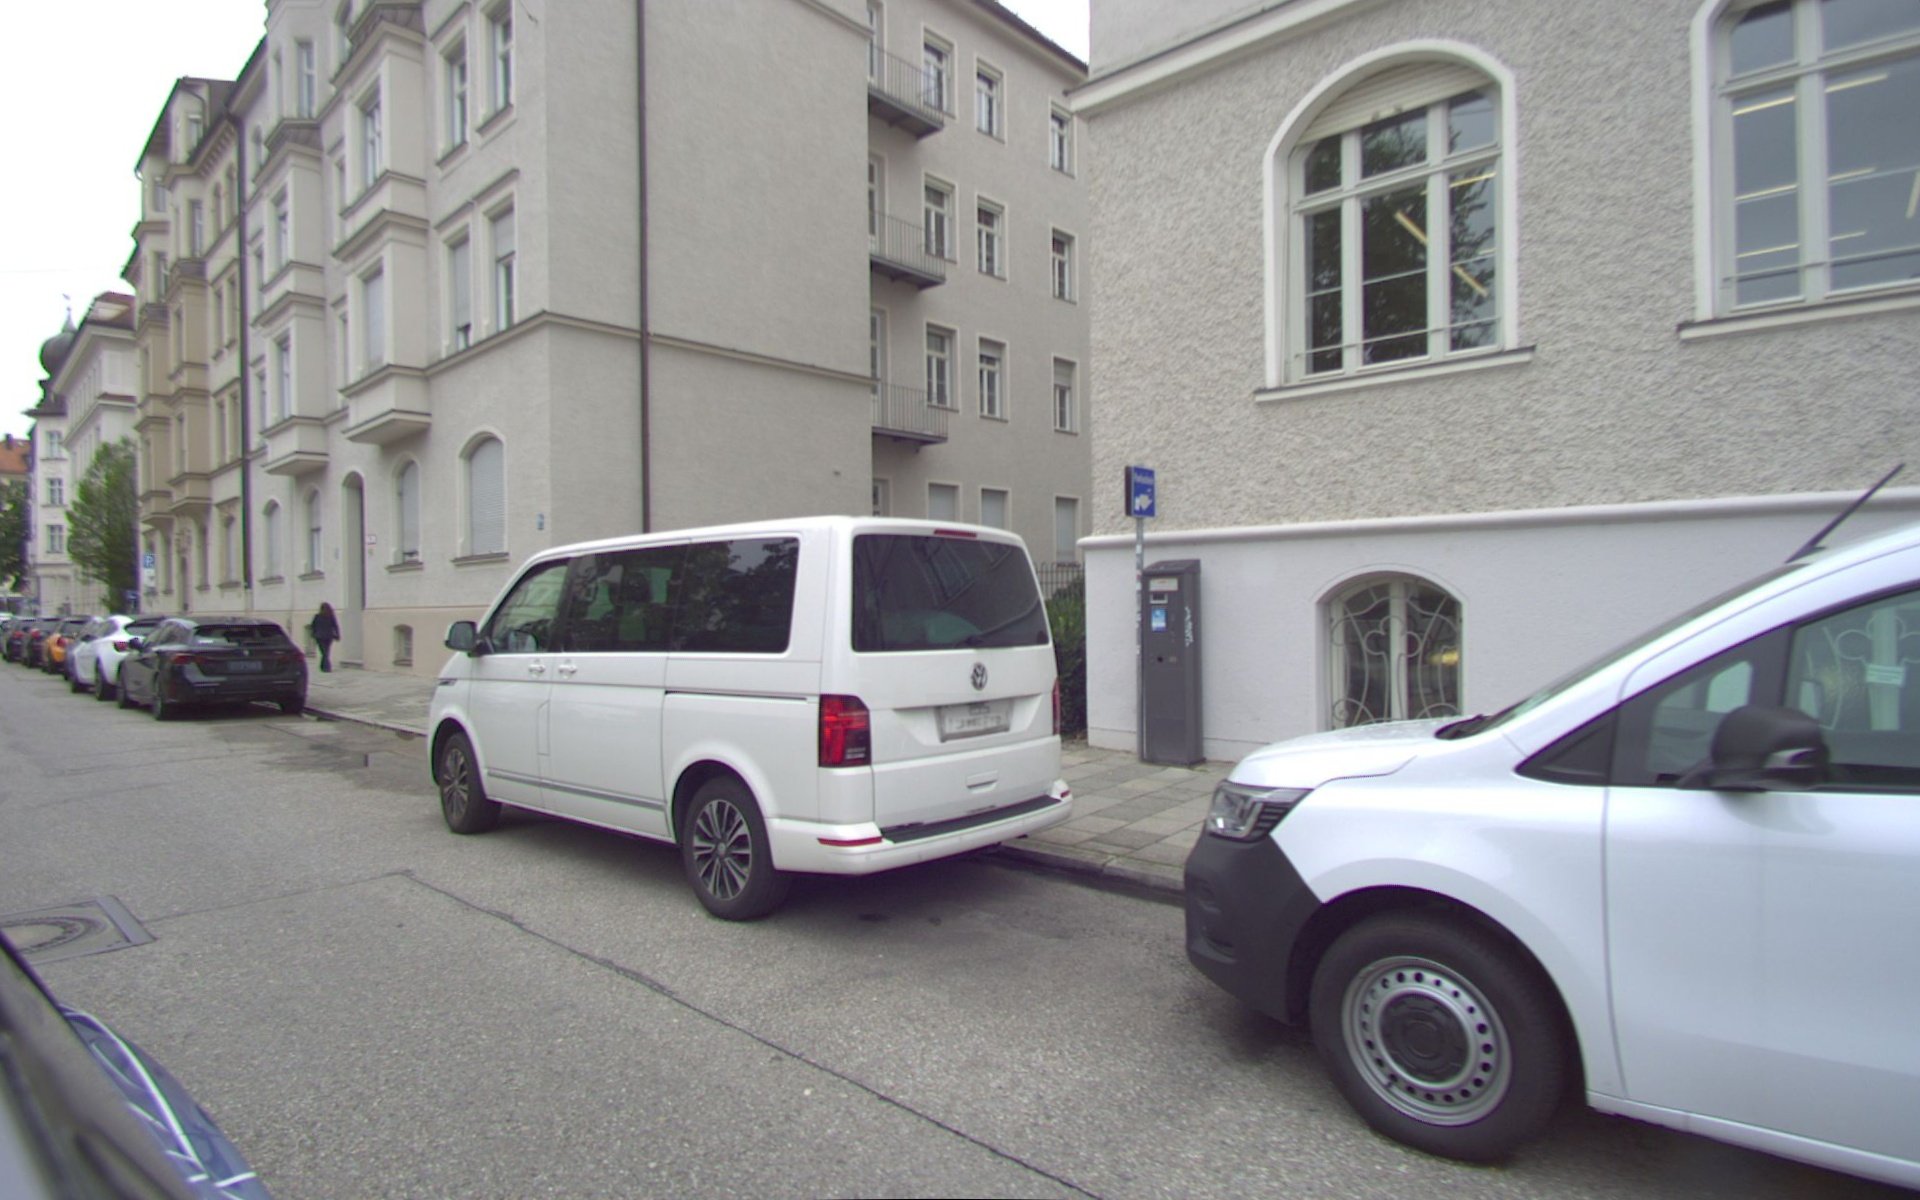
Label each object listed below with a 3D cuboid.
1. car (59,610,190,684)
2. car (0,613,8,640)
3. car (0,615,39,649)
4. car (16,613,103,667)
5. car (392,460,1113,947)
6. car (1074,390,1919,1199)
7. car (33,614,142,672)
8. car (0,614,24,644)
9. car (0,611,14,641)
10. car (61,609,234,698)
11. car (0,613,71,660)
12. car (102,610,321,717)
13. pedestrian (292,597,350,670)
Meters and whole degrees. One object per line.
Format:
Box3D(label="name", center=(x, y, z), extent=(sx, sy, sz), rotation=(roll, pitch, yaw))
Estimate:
Box3D(label="car", center=(-18.456, 0.967, 22.296), extent=(3.938, 1.474, 1.785), rotation=(-1, -1, 44))
Box3D(label="car", center=(-55.843, 1.507, 57.982), extent=(3.920, 1.542, 1.605), rotation=(-1, -1, 43))
Box3D(label="car", center=(-40.951, 1.352, 43.517), extent=(3.688, 1.440, 1.606), rotation=(-1, -1, 41))
Box3D(label="car", center=(-26.283, 1.112, 29.502), extent=(3.942, 1.467, 1.605), rotation=(-1, -1, 44))
Box3D(label="car", center=(-1.642, 0.444, 6.391), extent=(4.955, 1.953, 1.837), rotation=(-1, -1, 41))
Box3D(label="car", center=(2.844, 0.472, 2.427), extent=(5.034, 1.802, 1.728), rotation=(-1, -1, 41))
Box3D(label="car", center=(-22.626, 1.066, 26.202), extent=(3.730, 1.373, 1.785), rotation=(-1, -1, 44))
Box3D(label="car", center=(-48.356, 1.450, 51.015), extent=(3.691, 1.440, 1.604), rotation=(-1, -1, 45))
Box3D(label="car", center=(-51.941, 1.375, 54.187), extent=(3.689, 1.542, 1.605), rotation=(-1, -1, 43))
Box3D(label="car", center=(-15.301, 0.917, 18.982), extent=(4.377, 1.474, 1.836), rotation=(-1, -1, 42))
Box3D(label="car", center=(-30.487, 1.170, 33.285), extent=(3.943, 1.440, 1.604), rotation=(-1, -1, 45))
Box3D(label="car", center=(-11.582, 0.877, 15.554), extent=(4.377, 1.423, 1.836), rotation=(-1, -2, 42))
Box3D(label="pedestrian", center=(-14.683, 0.746, 23.255), extent=(1.052, 1.620, 0.864), rotation=(-1, 0, 42))
